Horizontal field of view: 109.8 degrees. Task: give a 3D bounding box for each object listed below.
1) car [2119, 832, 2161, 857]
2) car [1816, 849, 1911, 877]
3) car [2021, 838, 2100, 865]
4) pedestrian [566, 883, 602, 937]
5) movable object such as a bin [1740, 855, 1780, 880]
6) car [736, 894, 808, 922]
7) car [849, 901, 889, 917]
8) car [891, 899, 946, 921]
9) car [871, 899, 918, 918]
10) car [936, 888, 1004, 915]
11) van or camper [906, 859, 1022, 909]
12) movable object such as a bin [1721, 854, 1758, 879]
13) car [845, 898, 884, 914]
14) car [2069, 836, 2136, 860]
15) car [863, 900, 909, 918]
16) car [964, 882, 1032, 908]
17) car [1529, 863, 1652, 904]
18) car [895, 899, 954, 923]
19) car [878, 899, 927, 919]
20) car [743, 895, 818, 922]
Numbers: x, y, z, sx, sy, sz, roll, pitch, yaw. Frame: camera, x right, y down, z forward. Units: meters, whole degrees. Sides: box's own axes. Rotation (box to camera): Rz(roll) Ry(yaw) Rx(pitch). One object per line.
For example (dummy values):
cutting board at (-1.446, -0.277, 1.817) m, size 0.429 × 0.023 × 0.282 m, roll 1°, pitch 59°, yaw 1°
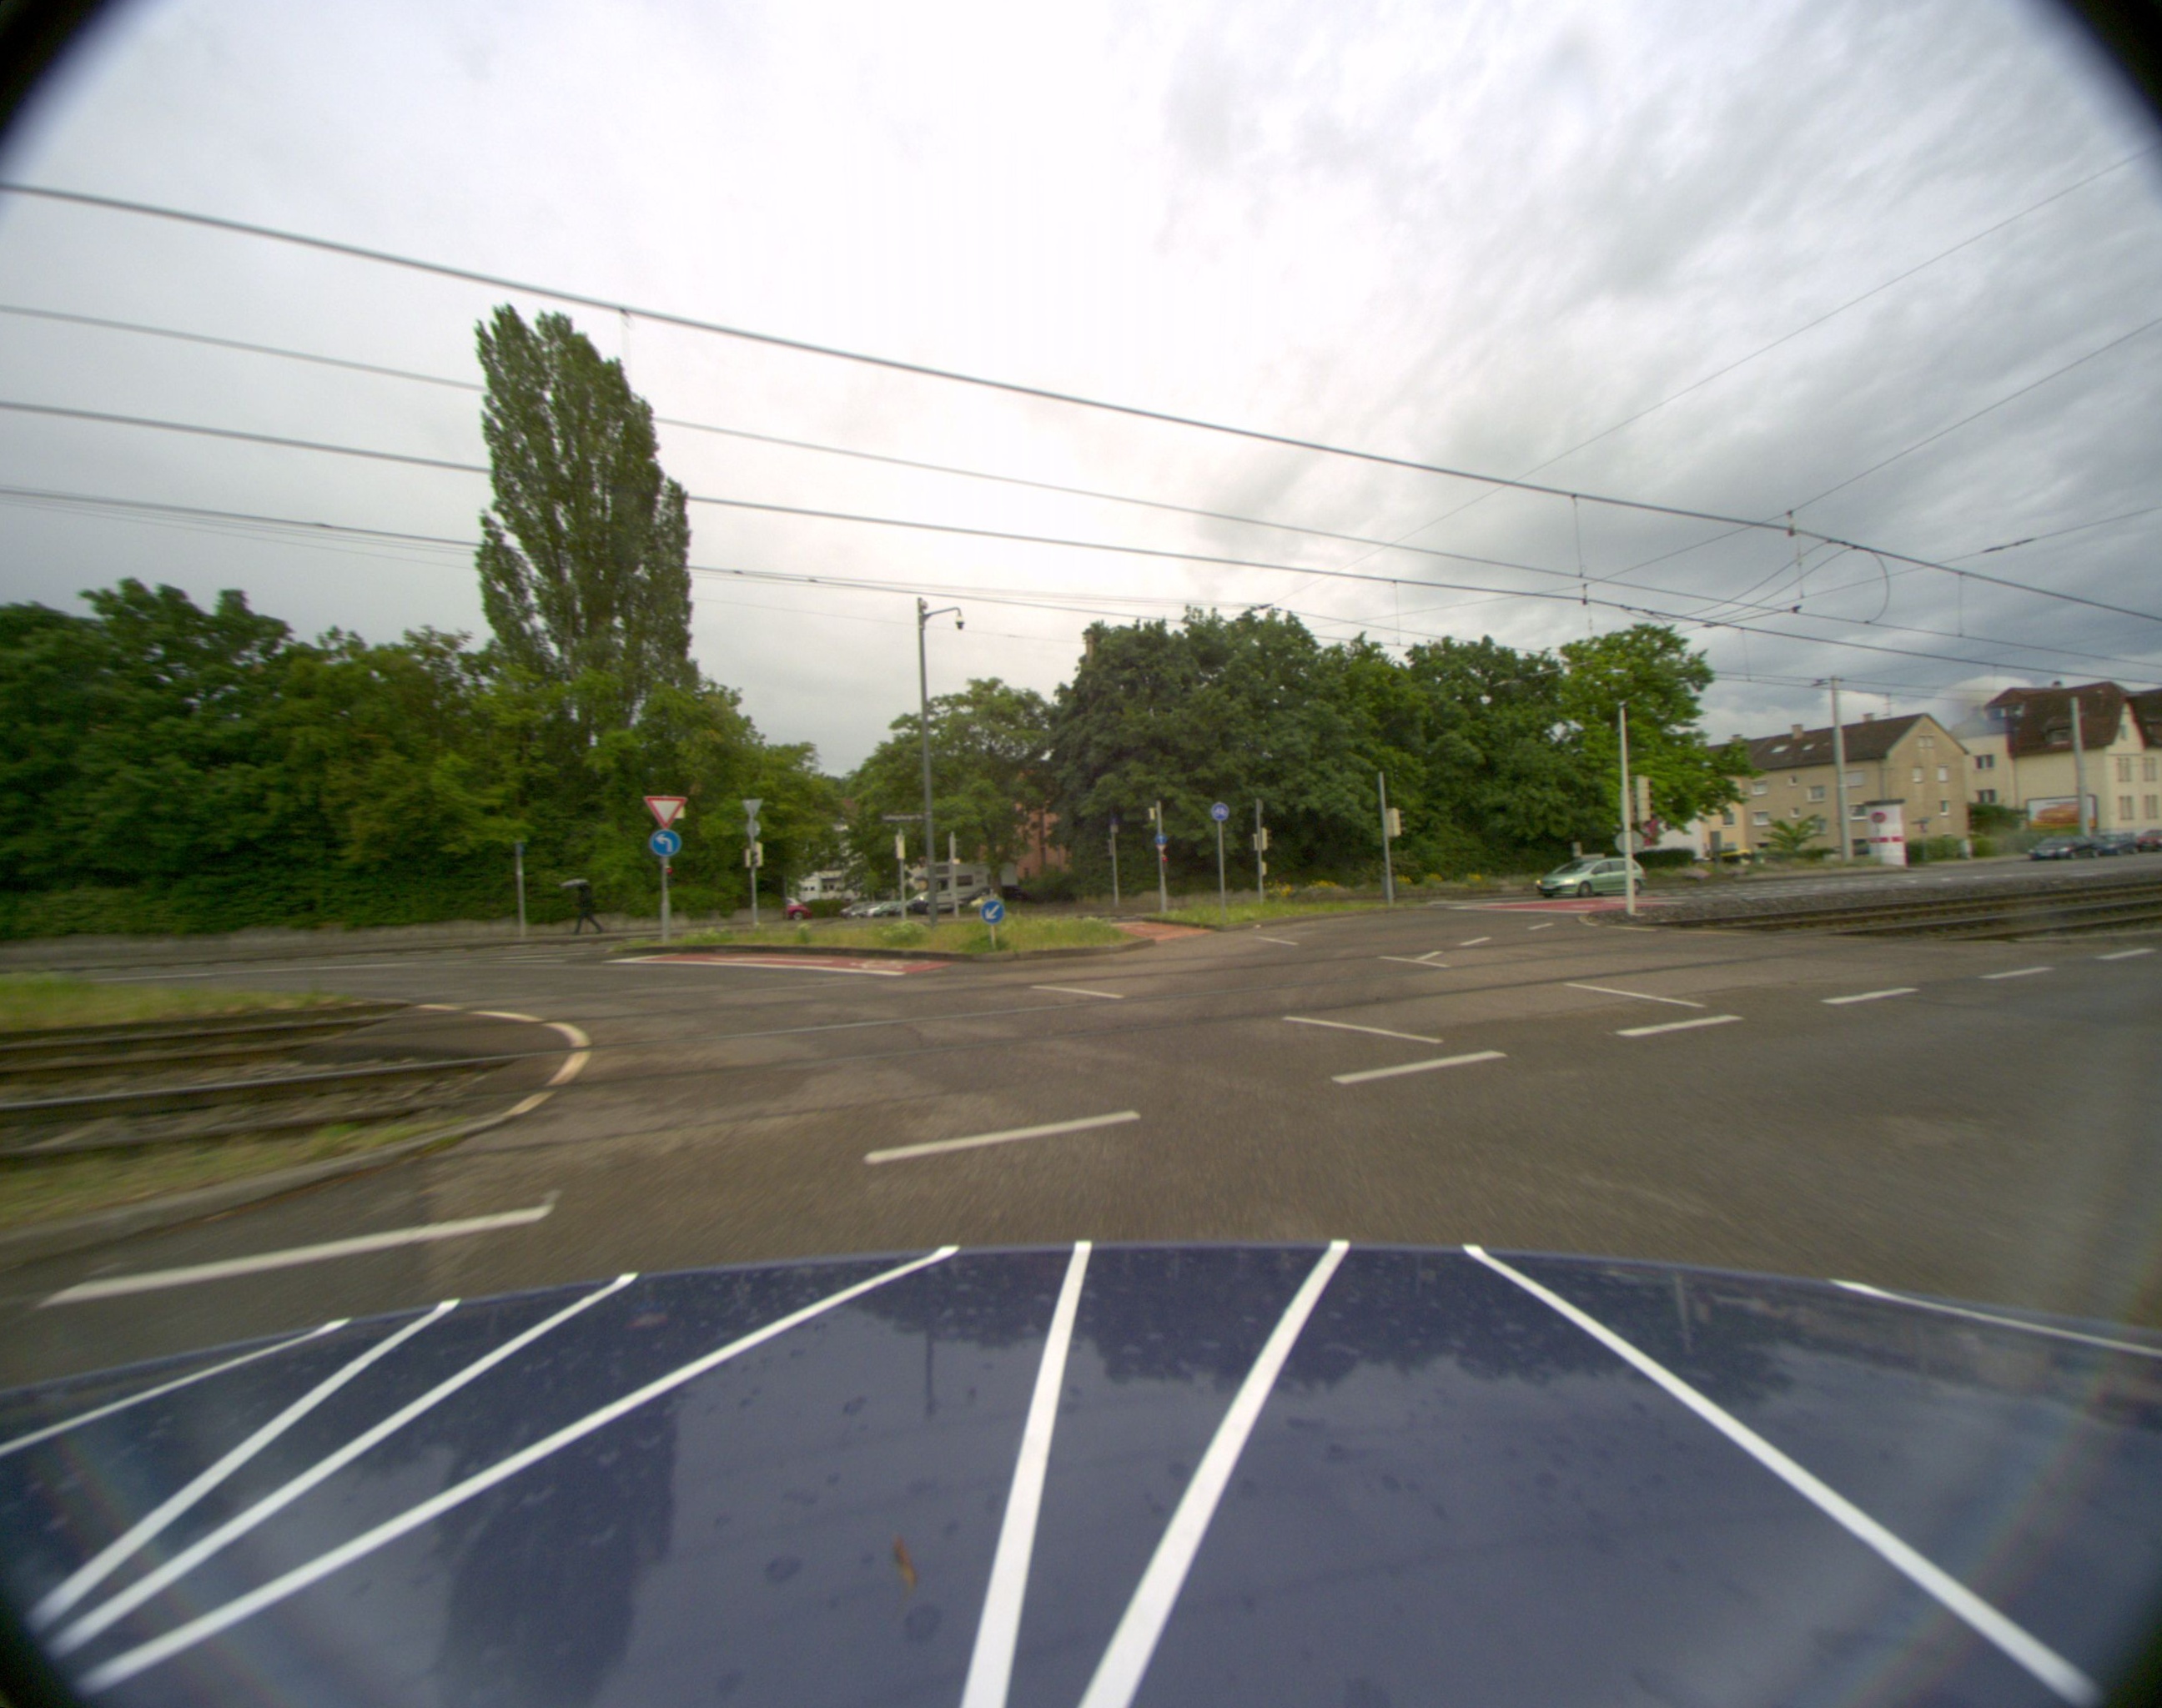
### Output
car at (77.718, -0.718, 55.032) m, size 4.102 × 1.618 × 1.841 m, roll -3°, pitch -2°, yaw -19°
car at (56.383, 0.681, 54.872) m, size 1.880 × 1.644 × 4.285 m, roll -4°, pitch -3°, yaw -16°
car at (64.863, -0.170, 50.336) m, size 4.442 × 1.524 × 1.841 m, roll -2°, pitch -2°, yaw -20°
pedestrian at (-15.504, 1.727, 23.707) m, size 0.684 × 1.596 × 0.809 m, roll -4°, pitch -2°, yaw -19°
movable object such as a bin at (41.616, 0.857, 46.566) m, size 1.301 × 1.409 × 1.314 m, roll -3°, pitch -2°, yaw -22°
car at (-19.120, 3.324, 46.965) m, size 4.005 × 1.539 × 1.675 m, roll -1°, pitch -2°, yaw -26°
car at (-22.934, 5.904, 82.225) m, size 4.004 × 1.539 × 1.833 m, roll -1°, pitch -1°, yaw -23°
car at (-13.106, 4.487, 61.341) m, size 4.004 × 1.539 × 1.833 m, roll -1°, pitch -1°, yaw -23°
car at (-17.208, 5.039, 70.028) m, size 4.004 × 1.539 × 1.833 m, roll -1°, pitch -1°, yaw -23°
car at (-7.256, 3.087, 49.520) m, size 4.004 × 1.539 × 1.833 m, roll -1°, pitch -1°, yaw -23°
van or camper at (-7.018, 1.739, 45.668) m, size 6.439 × 2.738 × 2.427 m, roll -1°, pitch -1°, yaw -23°
movable object such as a bin at (40.004, 0.747, 46.170) m, size 1.136 × 1.409 × 1.186 m, roll -3°, pitch -2°, yaw -22°
car at (-24.281, 5.841, 85.238) m, size 4.004 × 1.636 × 1.833 m, roll -1°, pitch -1°, yaw -23°
car at (70.453, -0.402, 52.408) m, size 3.932 × 1.435 × 1.670 m, roll -3°, pitch -2°, yaw -21°
car at (-18.713, 5.281, 72.947) m, size 4.004 × 1.539 × 1.833 m, roll -1°, pitch -1°, yaw -23°
car at (-4.757, 2.349, 43.651) m, size 3.477 × 1.346 × 1.675 m, roll -1°, pitch -2°, yaw -26°
car at (20.322, 1.162, 30.344) m, size 4.204 × 1.440 × 1.887 m, roll -1°, pitch -2°, yaw -20°
car at (-11.738, 4.230, 57.026) m, size 4.004 × 1.539 × 1.833 m, roll -1°, pitch -1°, yaw -23°
car at (-15.907, 4.882, 67.629) m, size 4.004 × 1.539 × 1.833 m, roll -1°, pitch -1°, yaw -23°
car at (-17.769, 3.186, 44.937) m, size 4.005 × 1.346 × 1.675 m, roll -1°, pitch -2°, yaw -26°
